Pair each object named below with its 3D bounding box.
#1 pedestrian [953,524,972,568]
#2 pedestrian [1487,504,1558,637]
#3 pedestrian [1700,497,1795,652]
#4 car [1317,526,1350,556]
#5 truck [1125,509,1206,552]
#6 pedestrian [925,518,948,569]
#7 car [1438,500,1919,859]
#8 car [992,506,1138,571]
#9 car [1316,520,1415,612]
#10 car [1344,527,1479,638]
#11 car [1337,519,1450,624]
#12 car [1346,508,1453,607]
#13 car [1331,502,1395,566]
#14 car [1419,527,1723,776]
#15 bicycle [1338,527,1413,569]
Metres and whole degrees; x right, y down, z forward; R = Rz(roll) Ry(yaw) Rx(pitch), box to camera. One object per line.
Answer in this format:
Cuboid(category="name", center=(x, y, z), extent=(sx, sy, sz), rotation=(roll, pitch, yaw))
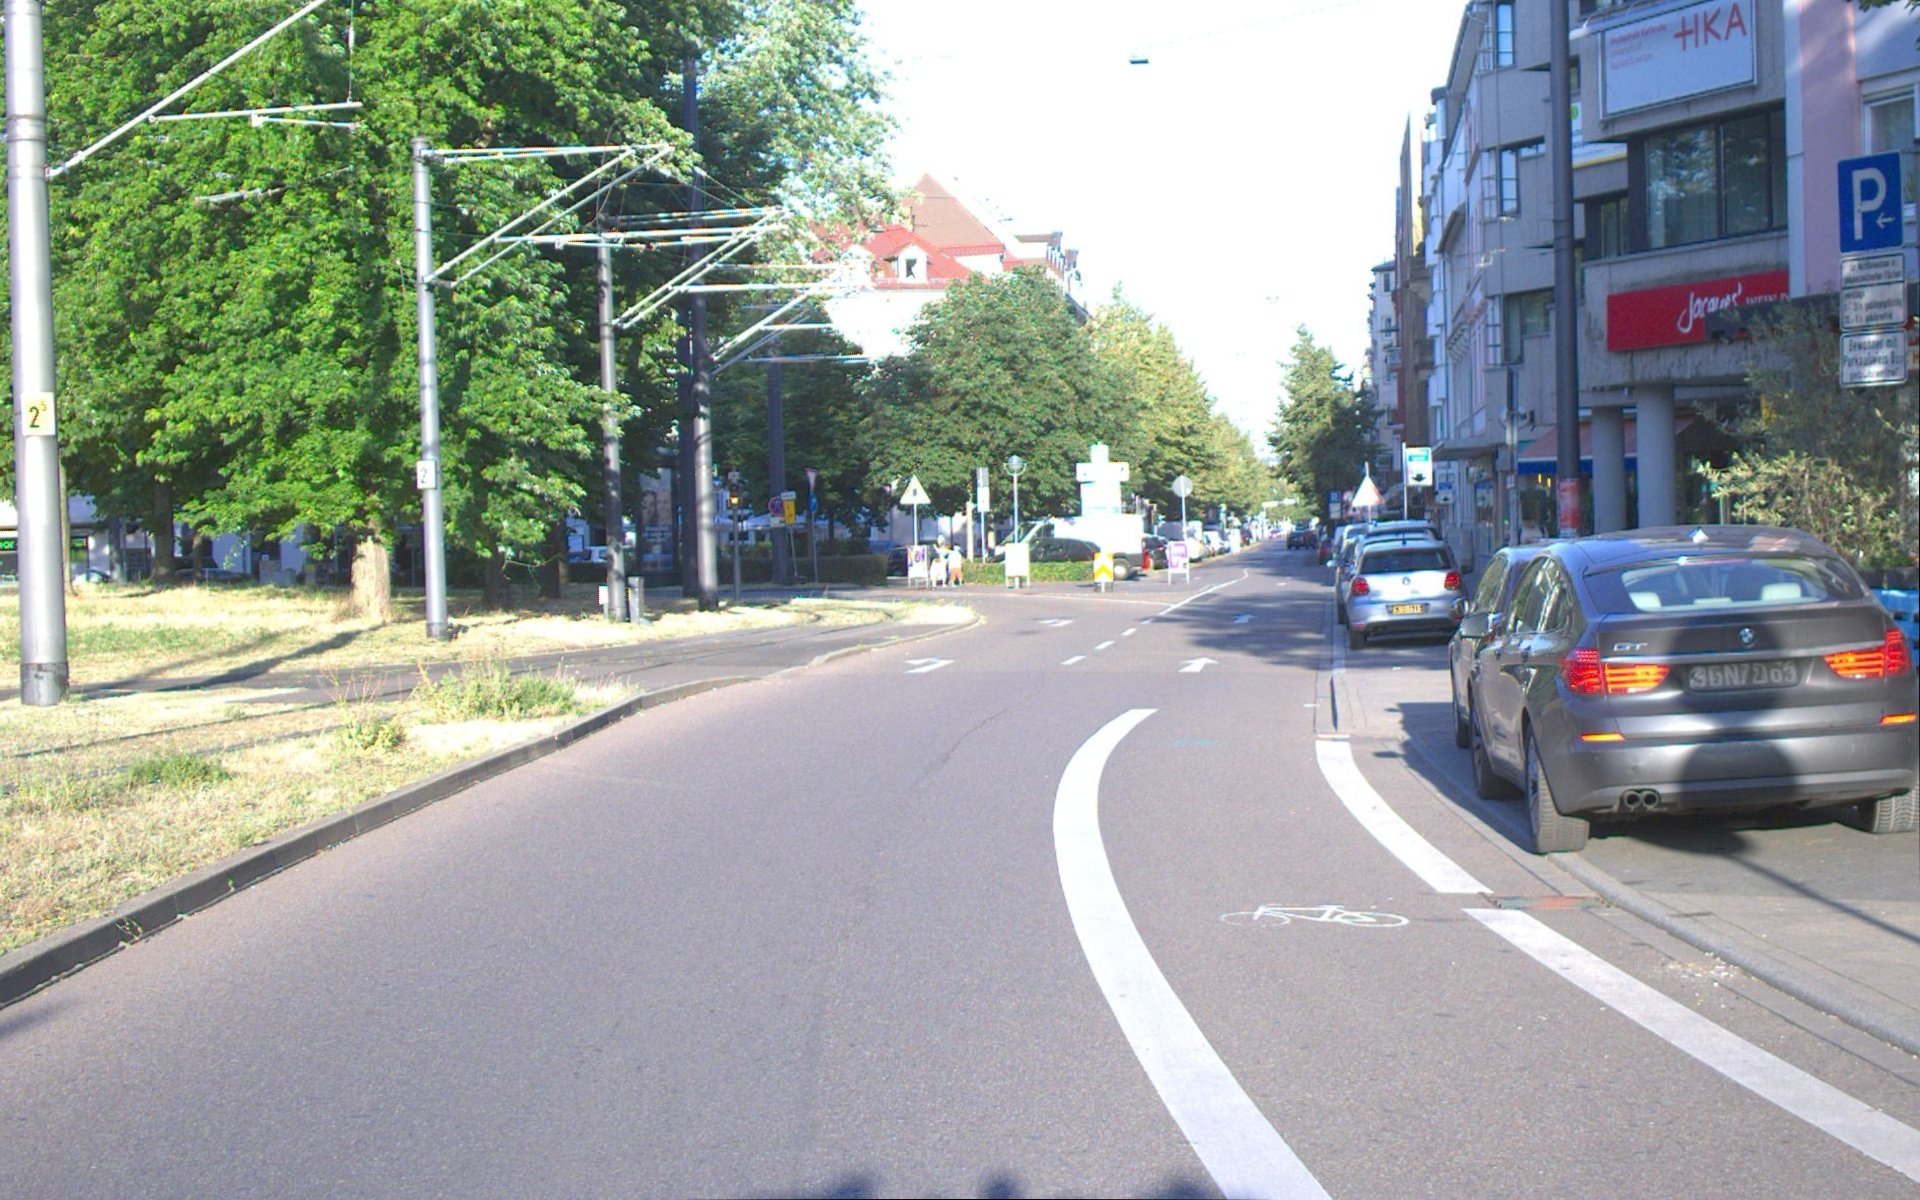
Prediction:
Cuboid(category="pedestrian", center=(0.074, -1.666, 105.694), extent=(0.562, 1.359, 0.614), rotation=(0, 1, -1))
Cuboid(category="pedestrian", center=(7.634, -0.410, 46.671), extent=(0.638, 1.779, 0.857), rotation=(-1, 1, -17))
Cuboid(category="pedestrian", center=(8.409, -0.281, 36.731), extent=(0.638, 1.621, 0.857), rotation=(-1, 1, -17))
Cuboid(category="car", center=(20.900, -3.297, 192.225), extent=(1.576, 1.537, 3.396), rotation=(-3, 0, 3))
Cuboid(category="truck", center=(12.919, -4.343, 215.696), extent=(4.942, 2.606, 2.000), rotation=(-1, 1, 6))
Cuboid(category="pedestrian", center=(-0.722, -1.739, 105.560), extent=(0.697, 1.553, 0.695), rotation=(0, 1, -1))
Cuboid(category="car", center=(3.685, 0.303, 18.327), extent=(1.804, 1.664, 4.813), rotation=(0, 2, 3))
Cuboid(category="car", center=(3.652, -2.133, 119.572), extent=(4.597, 2.243, 2.204), rotation=(0, 1, -21))
Cuboid(category="car", center=(7.038, -0.620, 59.822), extent=(1.641, 1.523, 3.999), rotation=(0, 1, 6))
Cuboid(category="car", center=(6.358, -0.269, 48.454), extent=(1.785, 1.451, 3.999), rotation=(-1, 1, 7))
Cuboid(category="car", center=(6.769, -0.475, 53.914), extent=(1.585, 1.585, 3.667), rotation=(0, 1, 4))
Cuboid(category="car", center=(8.260, -0.834, 64.898), extent=(1.784, 1.798, 4.401), rotation=(0, 1, 4))
Cuboid(category="car", center=(11.862, -1.941, 101.439), extent=(1.793, 1.785, 4.091), rotation=(-1, 1, 6))
Cuboid(category="car", center=(4.077, 0.279, 23.462), extent=(1.651, 1.529, 4.066), rotation=(0, 1, 5))
Cuboid(category="bicycle", center=(10.817, -1.354, 89.514), extent=(1.790, 0.986, 0.541), rotation=(-3, 2, 29))
